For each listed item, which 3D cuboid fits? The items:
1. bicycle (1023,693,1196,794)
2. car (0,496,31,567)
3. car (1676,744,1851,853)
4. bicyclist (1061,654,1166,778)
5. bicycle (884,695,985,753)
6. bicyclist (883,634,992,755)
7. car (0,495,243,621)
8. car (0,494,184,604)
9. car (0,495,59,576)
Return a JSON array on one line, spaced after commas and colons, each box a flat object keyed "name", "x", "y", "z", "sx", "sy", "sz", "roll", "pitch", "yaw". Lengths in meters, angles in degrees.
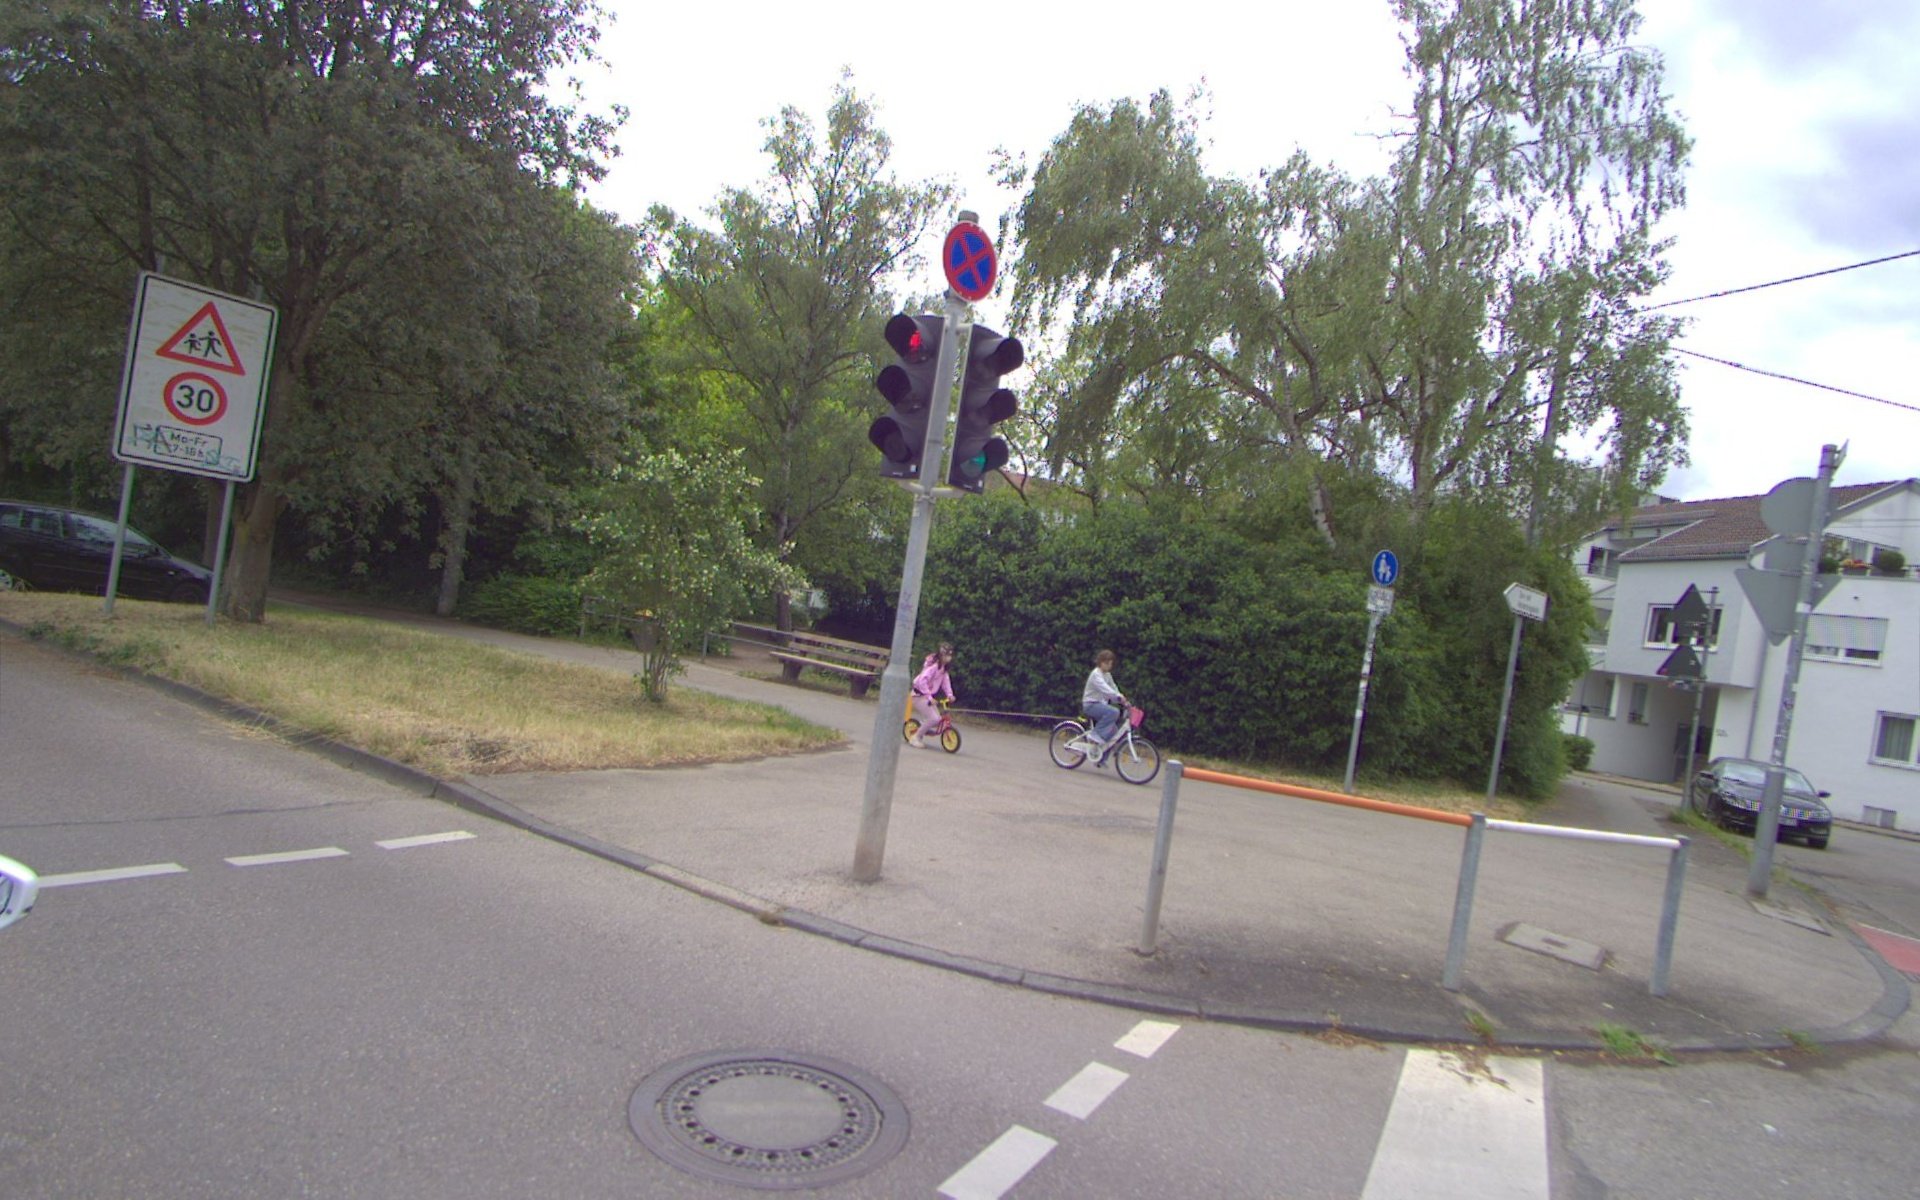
[{"name": "bicycle", "x": 1.595, "y": 1.518, "z": 10.854, "sx": 1.653, "sy": 0.767, "sz": 0.640, "roll": 7, "pitch": -1, "yaw": 31}, {"name": "car", "x": -22.046, "y": -1.728, "z": 20.484, "sx": 1.604, "sy": 1.480, "sz": 4.238, "roll": 8, "pitch": -2, "yaw": 19}, {"name": "car", "x": 15.976, "y": 3.868, "z": 20.291, "sx": 2.005, "sy": 1.455, "sz": 4.794, "roll": 9, "pitch": -1, "yaw": 32}, {"name": "bicyclist", "x": 1.658, "y": 1.236, "z": 10.845, "sx": 0.790, "sy": 1.176, "sz": 0.640, "roll": 8, "pitch": 0, "yaw": 31}, {"name": "bicycle", "x": -0.287, "y": 1.381, "z": 11.290, "sx": 0.972, "sy": 0.503, "sz": 0.519, "roll": 6, "pitch": -2, "yaw": 31}, {"name": "bicyclist", "x": -0.255, "y": 1.053, "z": 11.308, "sx": 0.951, "sy": 1.201, "sz": 0.519, "roll": 7, "pitch": 0, "yaw": 31}, {"name": "car", "x": -13.486, "y": -0.672, "z": 15.348, "sx": 1.548, "sy": 1.493, "sz": 3.729, "roll": 8, "pitch": -2, "yaw": 25}, {"name": "car", "x": -15.441, "y": -0.932, "z": 16.408, "sx": 1.546, "sy": 1.493, "sz": 4.154, "roll": 7, "pitch": -2, "yaw": 17}, {"name": "car", "x": -19.928, "y": -1.473, "z": 19.288, "sx": 1.562, "sy": 1.493, "sz": 3.540, "roll": 8, "pitch": -2, "yaw": 15}]
